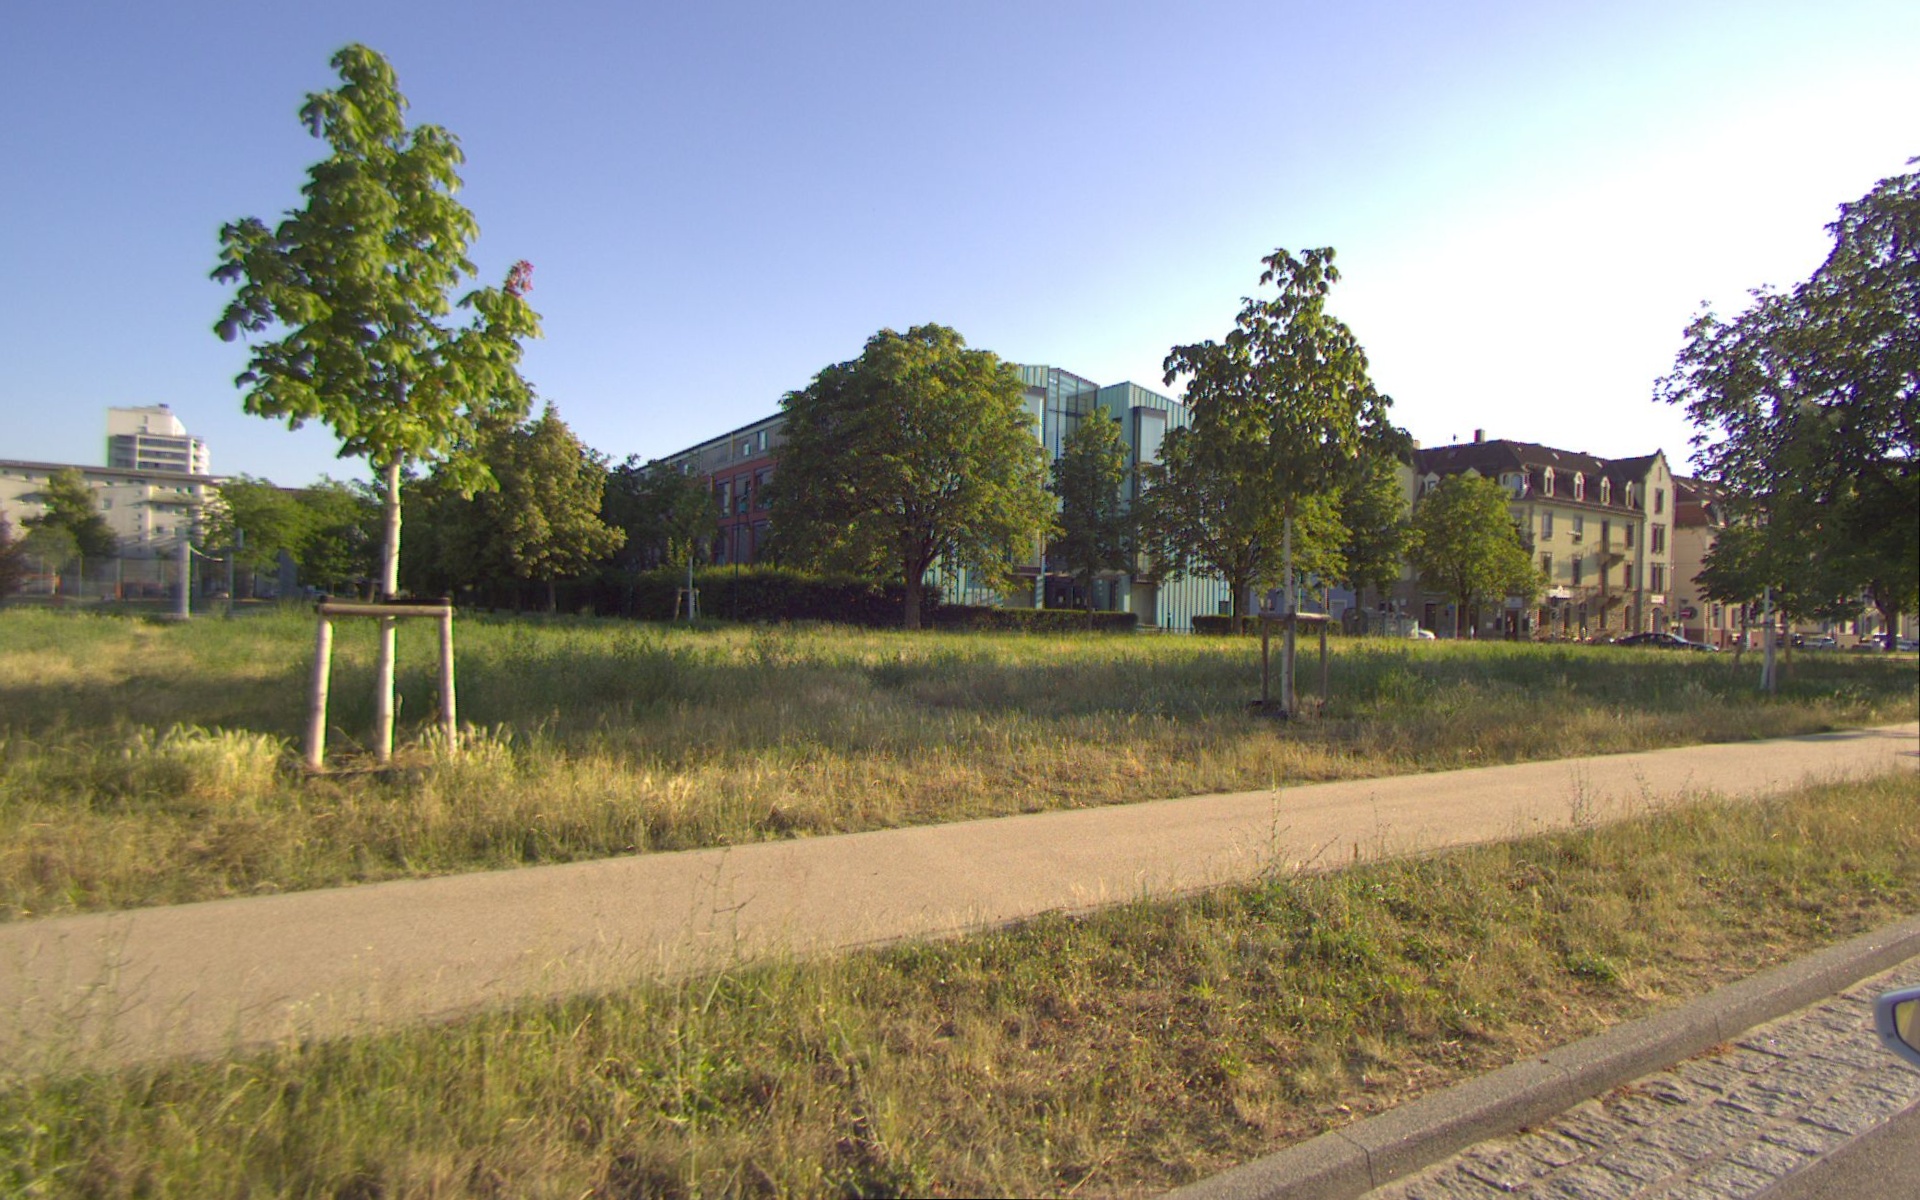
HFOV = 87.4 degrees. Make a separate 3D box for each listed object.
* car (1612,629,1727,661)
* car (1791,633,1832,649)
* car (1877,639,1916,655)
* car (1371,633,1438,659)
[{"bbox_3d":[38.107,2.384,54.065,1.799,1.453,4.728,2,-1,-38],"label":"car"},{"bbox_3d":[84.564,4.103,99.742,3.740,1.446,1.733,2,0,-25],"label":"car"},{"bbox_3d":[90.116,4.511,96.623,3.748,1.446,1.729,2,0,-30],"label":"car"},{"bbox_3d":[29.295,3.012,66.256,1.728,1.508,3.653,2,0,-41],"label":"car"}]
